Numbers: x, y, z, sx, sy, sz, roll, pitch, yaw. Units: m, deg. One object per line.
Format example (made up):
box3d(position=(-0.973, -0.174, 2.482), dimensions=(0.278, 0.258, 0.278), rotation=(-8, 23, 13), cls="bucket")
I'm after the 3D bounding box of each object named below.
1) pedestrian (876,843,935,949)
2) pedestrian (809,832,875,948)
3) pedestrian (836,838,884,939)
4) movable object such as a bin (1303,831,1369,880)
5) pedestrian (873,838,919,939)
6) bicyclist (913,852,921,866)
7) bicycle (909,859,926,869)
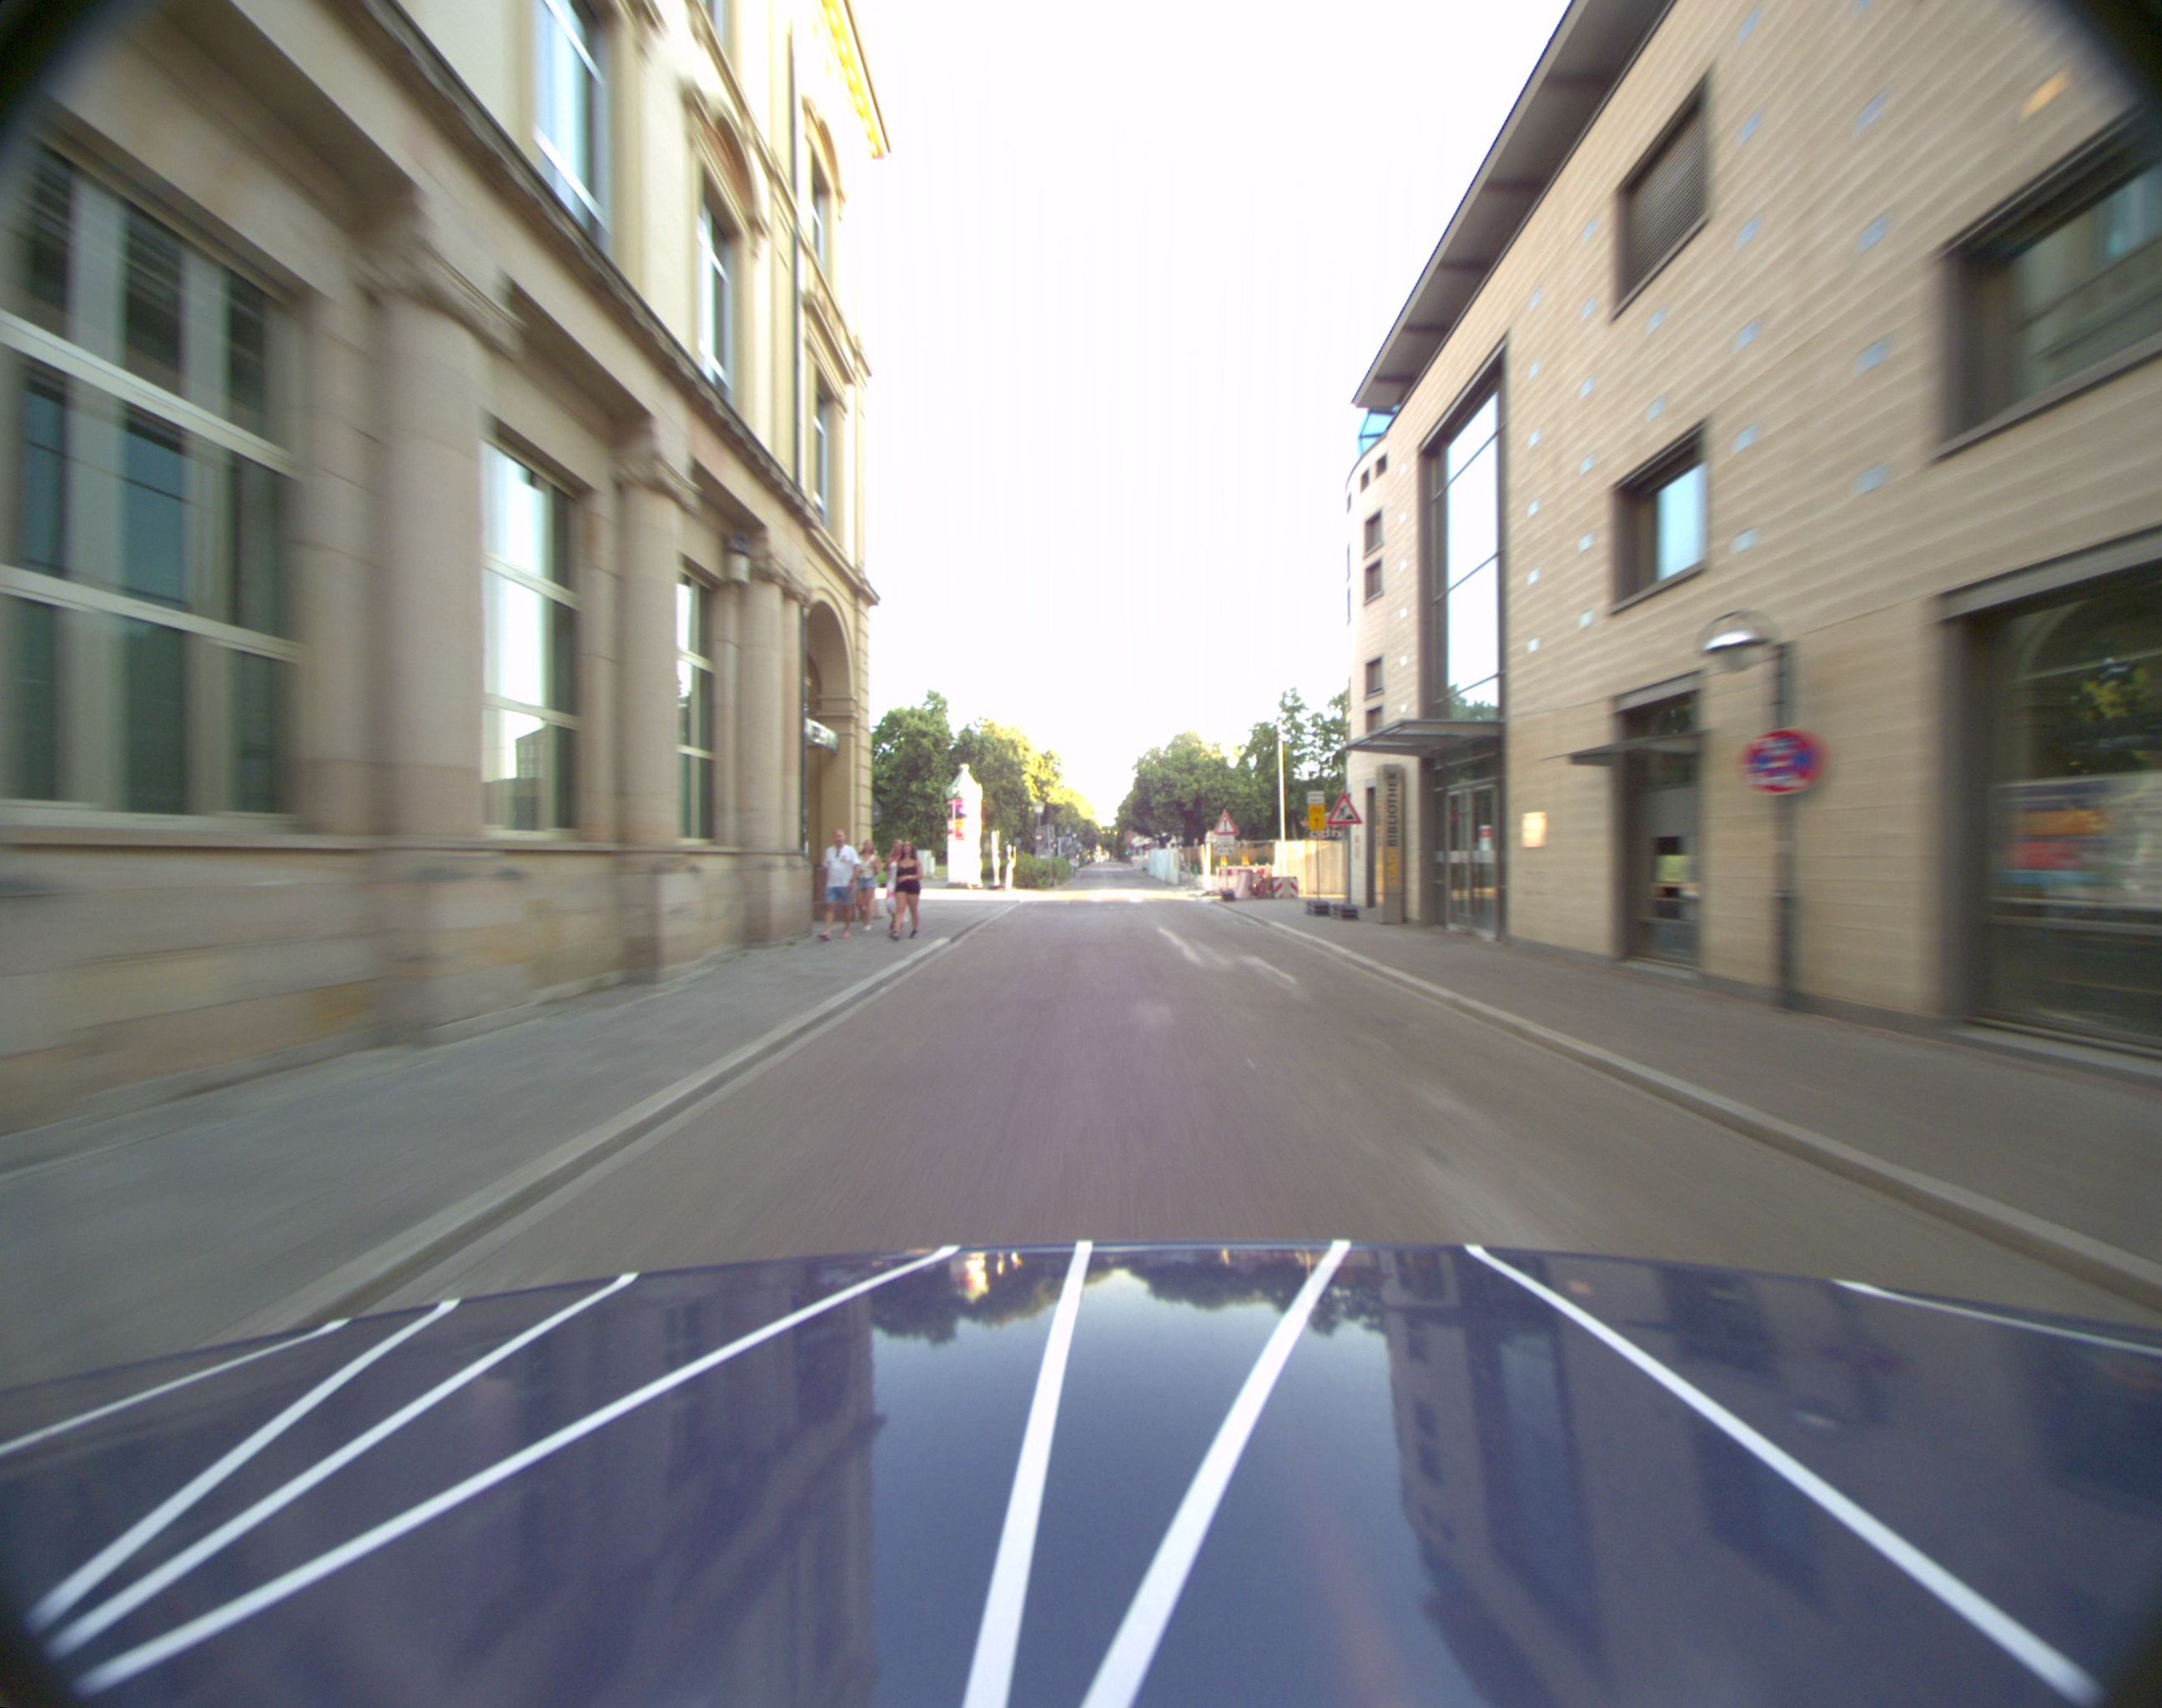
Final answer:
box3d(position=(-2.961, 0.691, 12.896), dimensions=(0.777, 1.736, 0.875), rotation=(0, 1, 1), cls="pedestrian")
box3d(position=(-3.968, 0.583, 12.669), dimensions=(0.814, 1.864, 0.875), rotation=(0, 1, 1), cls="pedestrian")
box3d(position=(-4.032, 0.617, 13.924), dimensions=(0.638, 1.793, 0.772), rotation=(0, 1, 1), cls="pedestrian")
box3d(position=(13.966, 0.092, 41.735), dimensions=(2.161, 2.588, 2.743), rotation=(0, 0, -21), cls="movable object such as a bin")
box3d(position=(-3.380, 0.610, 13.929), dimensions=(0.638, 1.793, 0.772), rotation=(0, 1, 1), cls="pedestrian")
box3d(position=(-18.734, 0.536, 86.885), dimensions=(0.678, 1.622, 0.657), rotation=(0, 1, -33), cls="bicyclist")
box3d(position=(-18.686, 1.134, 86.921), dimensions=(1.778, 1.170, 0.564), rotation=(0, 0, -33), cls="bicycle")
